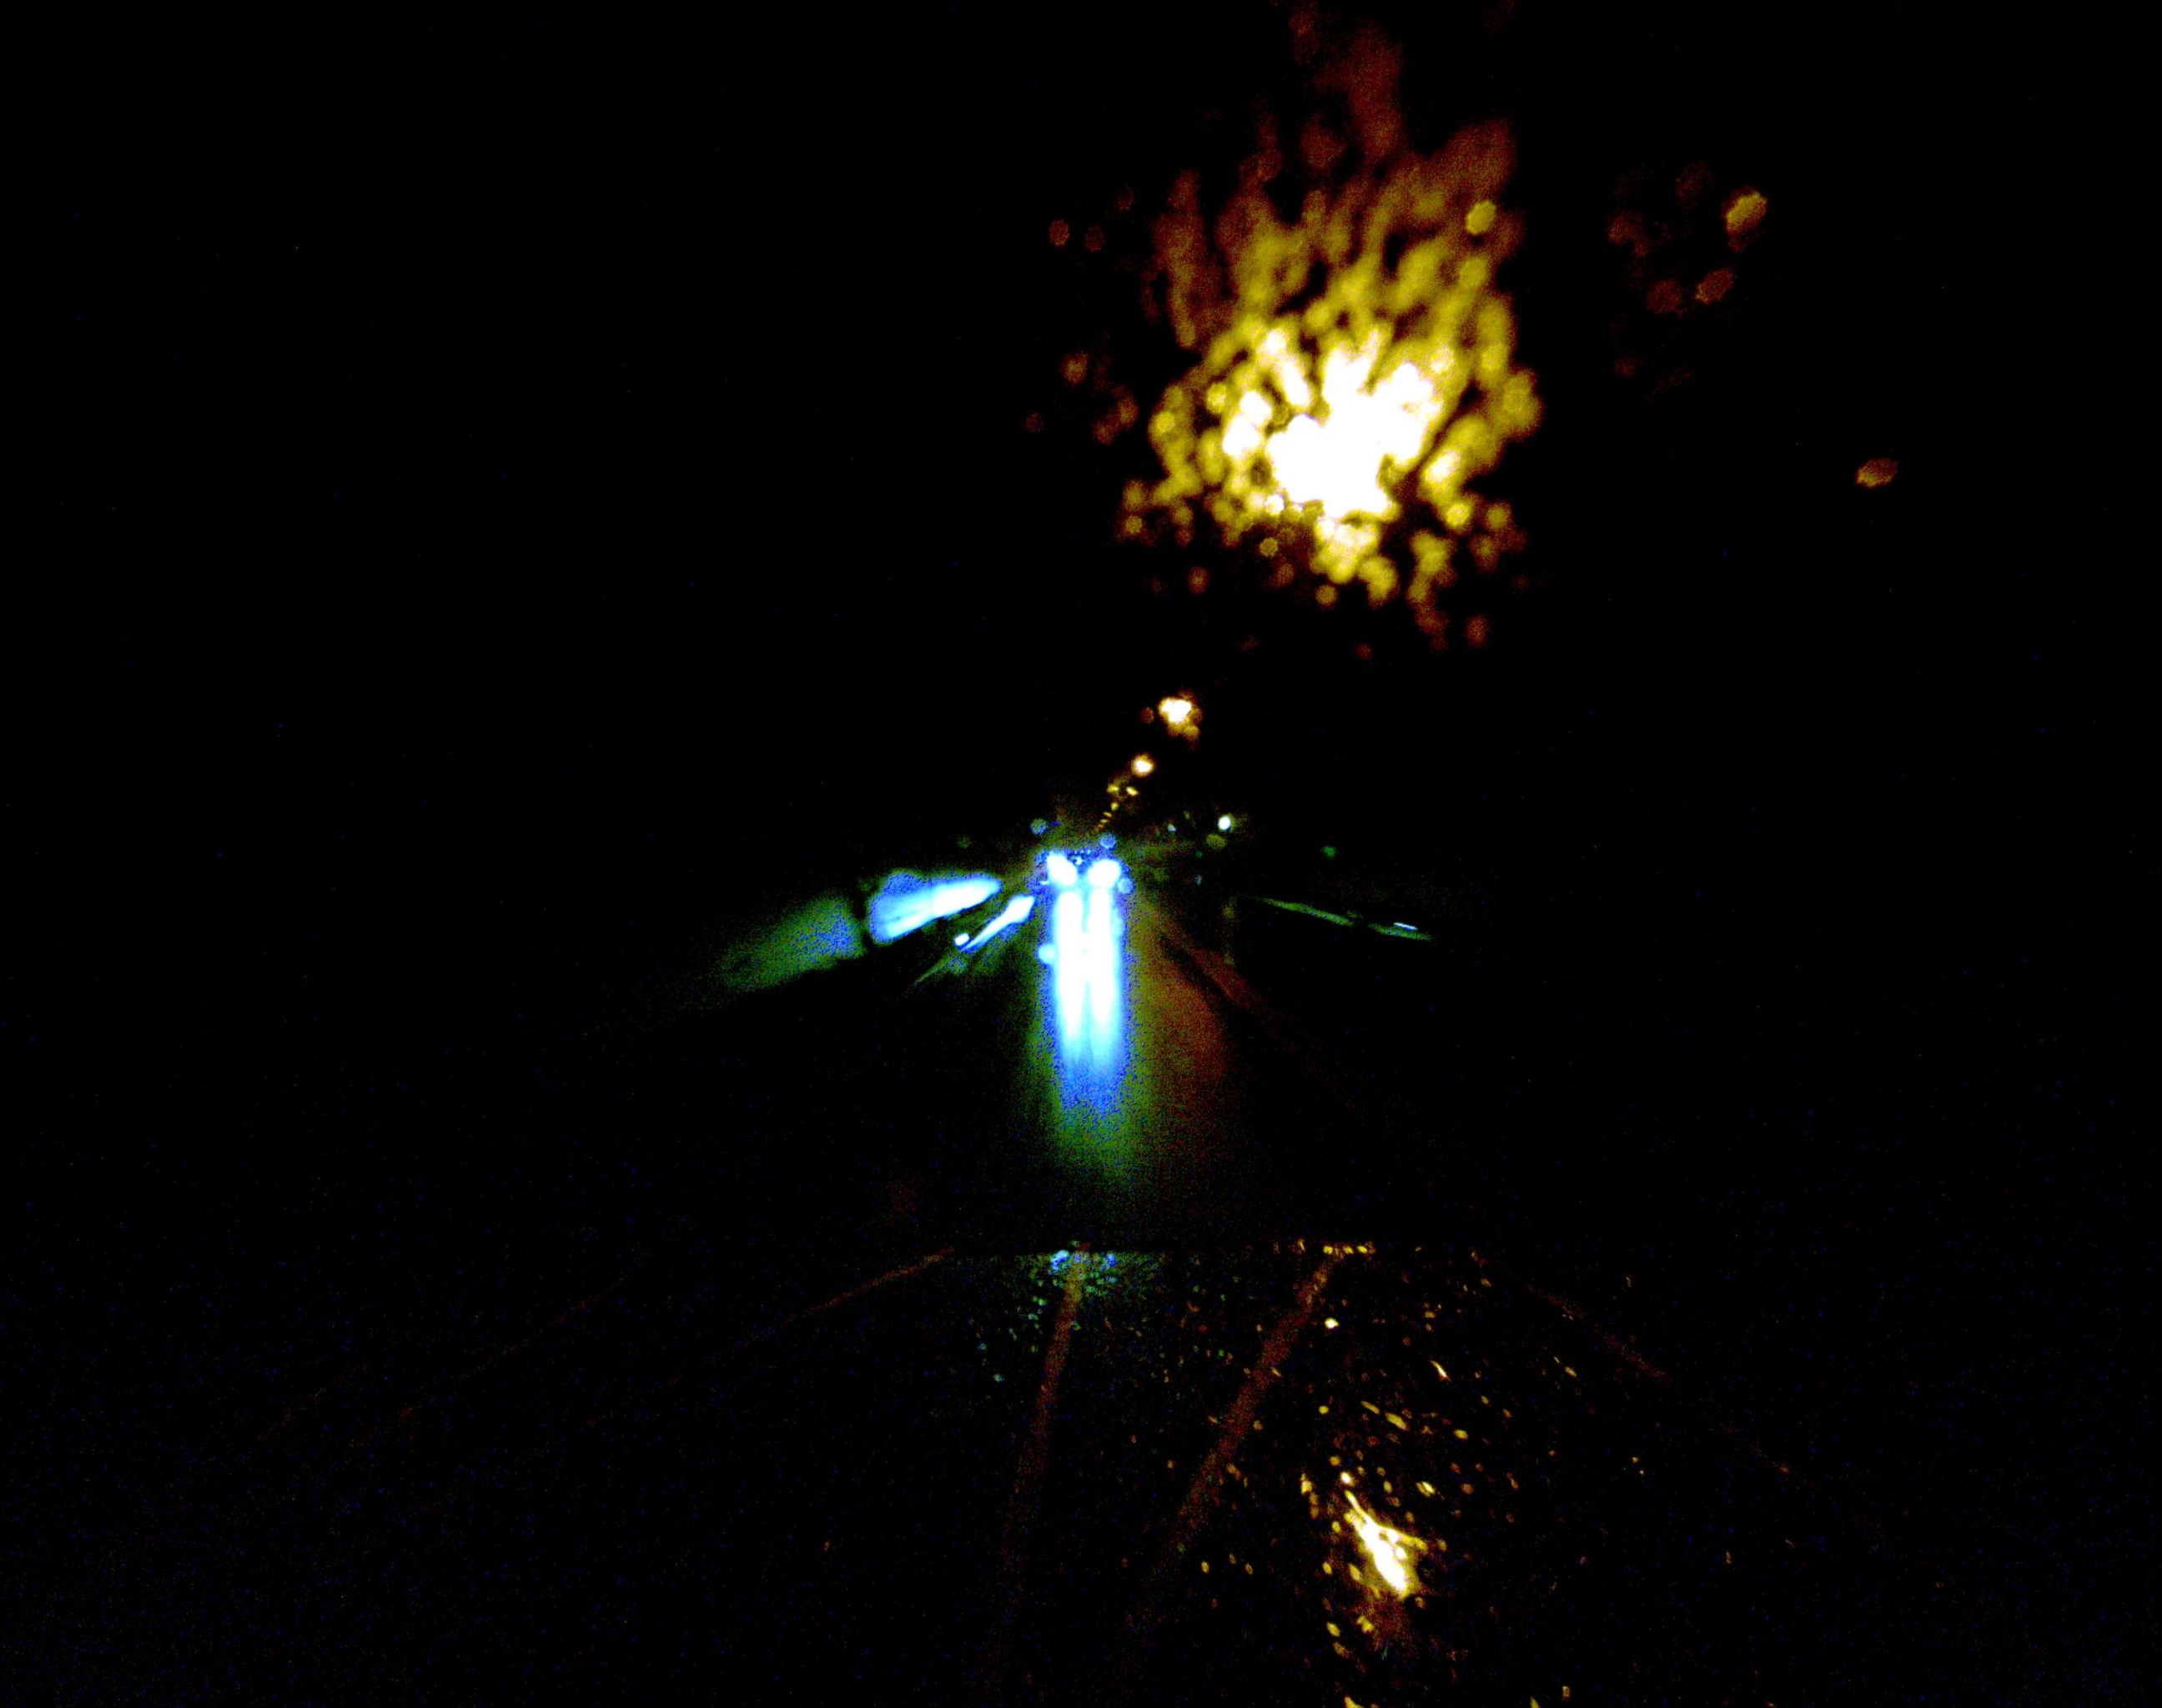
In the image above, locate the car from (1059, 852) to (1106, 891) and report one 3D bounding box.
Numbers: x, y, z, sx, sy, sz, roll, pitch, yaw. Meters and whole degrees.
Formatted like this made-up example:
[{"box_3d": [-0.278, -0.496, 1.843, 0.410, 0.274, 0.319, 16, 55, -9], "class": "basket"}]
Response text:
[{"box_3d": [0.028, 0.775, 35.835, 1.999, 1.547, 3.998, -2, 2, -1], "class": "car"}]
